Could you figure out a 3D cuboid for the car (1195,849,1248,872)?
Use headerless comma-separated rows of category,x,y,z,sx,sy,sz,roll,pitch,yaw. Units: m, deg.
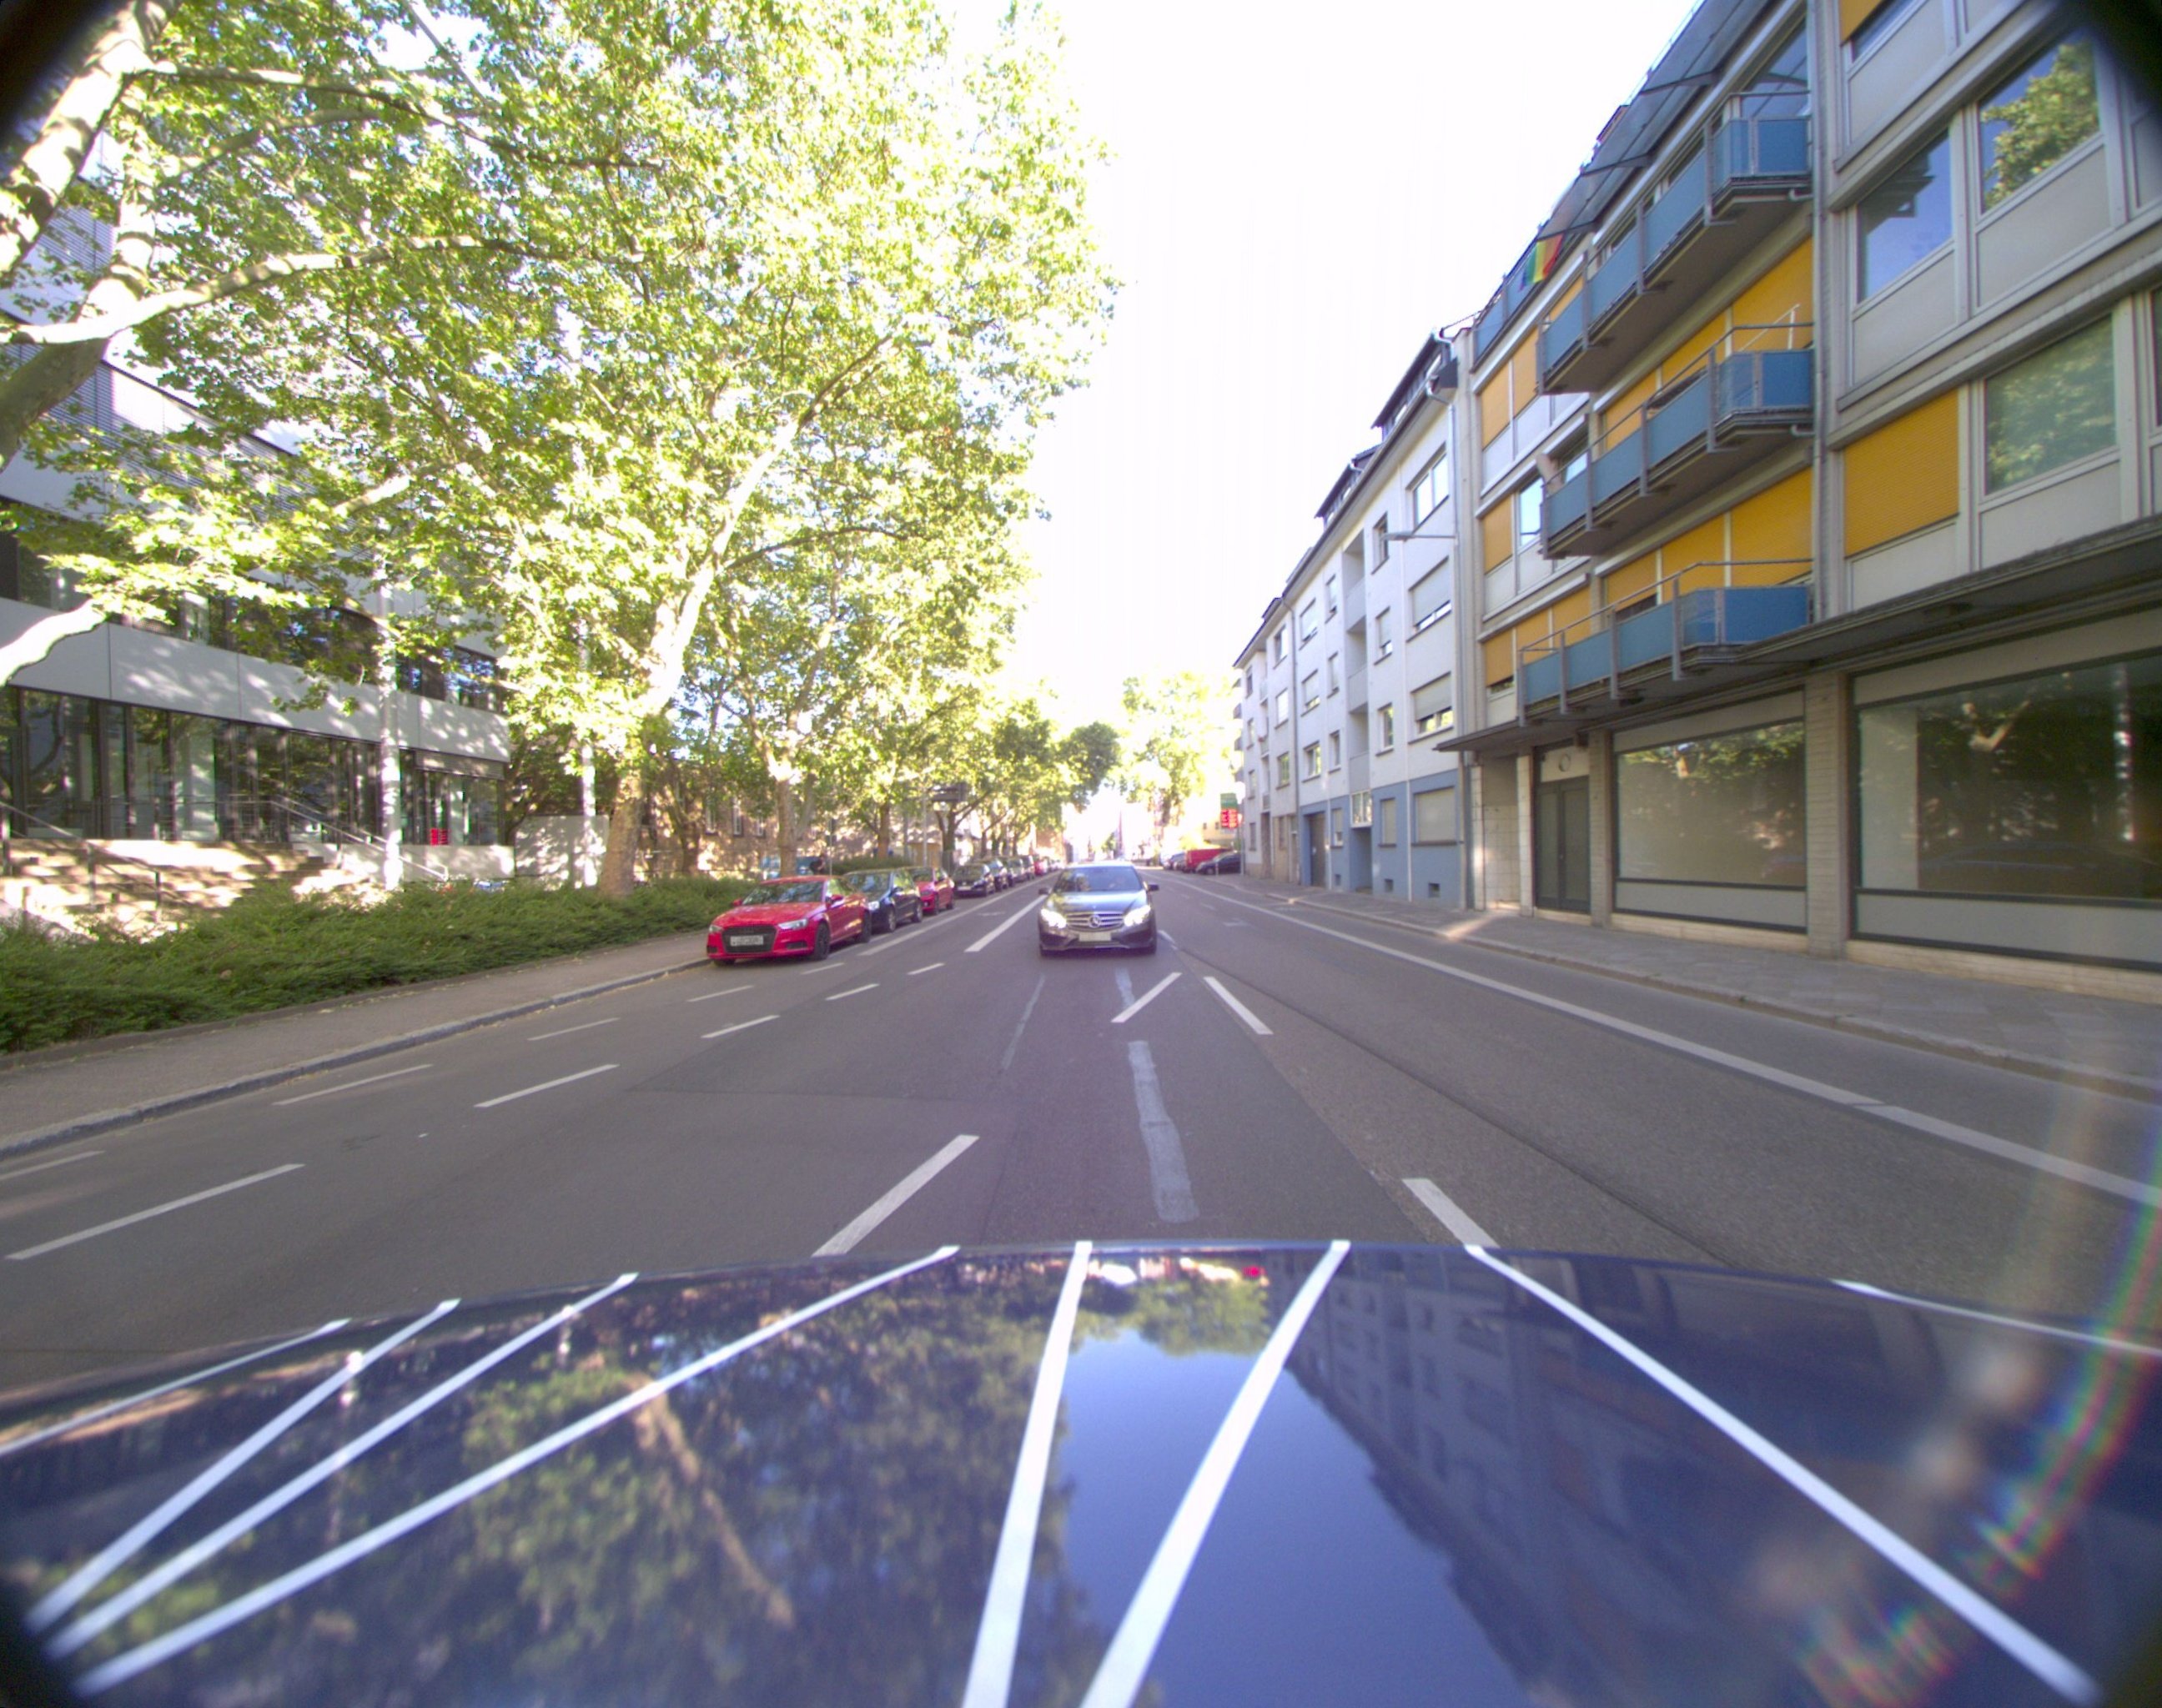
car,10.538,0.481,57.081,3.687,1.503,1.490,-2,1,2

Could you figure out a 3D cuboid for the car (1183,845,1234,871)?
car,10.065,0.317,59.926,3.688,1.897,1.490,-2,-1,-1

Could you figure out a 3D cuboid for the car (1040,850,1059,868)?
car,-3.803,0.588,92.156,1.998,2.002,4.000,-2,0,1

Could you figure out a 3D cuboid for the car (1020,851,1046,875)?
car,-4.166,0.724,66.075,1.915,1.940,3.769,-2,1,0

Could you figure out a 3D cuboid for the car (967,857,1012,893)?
car,-4.515,0.993,38.091,1.634,1.569,4.231,-2,1,0

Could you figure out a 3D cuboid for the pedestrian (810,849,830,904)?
pedestrian,-9.827,0.831,28.580,0.552,2.002,0.562,-2,1,-11

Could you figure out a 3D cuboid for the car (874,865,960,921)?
car,-5.010,1.134,23.668,1.692,1.441,3.923,-2,1,1

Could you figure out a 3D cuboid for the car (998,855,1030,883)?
car,-4.349,0.941,50.096,1.634,1.604,4.576,-2,1,0

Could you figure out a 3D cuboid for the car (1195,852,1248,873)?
car,10.095,0.586,54.712,3.508,1.380,1.490,-2,1,2

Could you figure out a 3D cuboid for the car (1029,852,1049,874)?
car,-3.898,0.808,70.987,1.599,1.835,3.769,-2,1,0

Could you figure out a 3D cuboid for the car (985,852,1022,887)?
car,-4.451,0.854,44.224,1.634,1.781,4.576,-2,1,0

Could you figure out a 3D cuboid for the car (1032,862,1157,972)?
car,0.237,0.934,13.112,1.752,1.423,4.265,-2,1,1

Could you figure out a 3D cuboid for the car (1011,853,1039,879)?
car,-4.033,0.816,55.223,1.634,1.725,3.769,-2,1,0

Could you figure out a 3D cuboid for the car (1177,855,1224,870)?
car,9.817,0.690,62.571,3.687,1.122,1.345,-2,1,2

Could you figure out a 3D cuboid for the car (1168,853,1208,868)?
car,10.272,0.623,73.012,3.687,1.238,1.345,-2,1,2

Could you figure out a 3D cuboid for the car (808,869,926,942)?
car,-5.047,1.163,18.395,1.669,1.410,3.697,-2,1,1

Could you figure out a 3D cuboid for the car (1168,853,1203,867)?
car,10.328,0.578,75.450,3.271,1.238,1.345,-2,1,2

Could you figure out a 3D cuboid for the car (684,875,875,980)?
car,-5.159,1.180,13.641,1.794,1.384,3.999,-2,1,0

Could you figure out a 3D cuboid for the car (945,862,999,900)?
car,-4.690,1.112,33.220,1.692,1.414,3.923,-2,1,0
